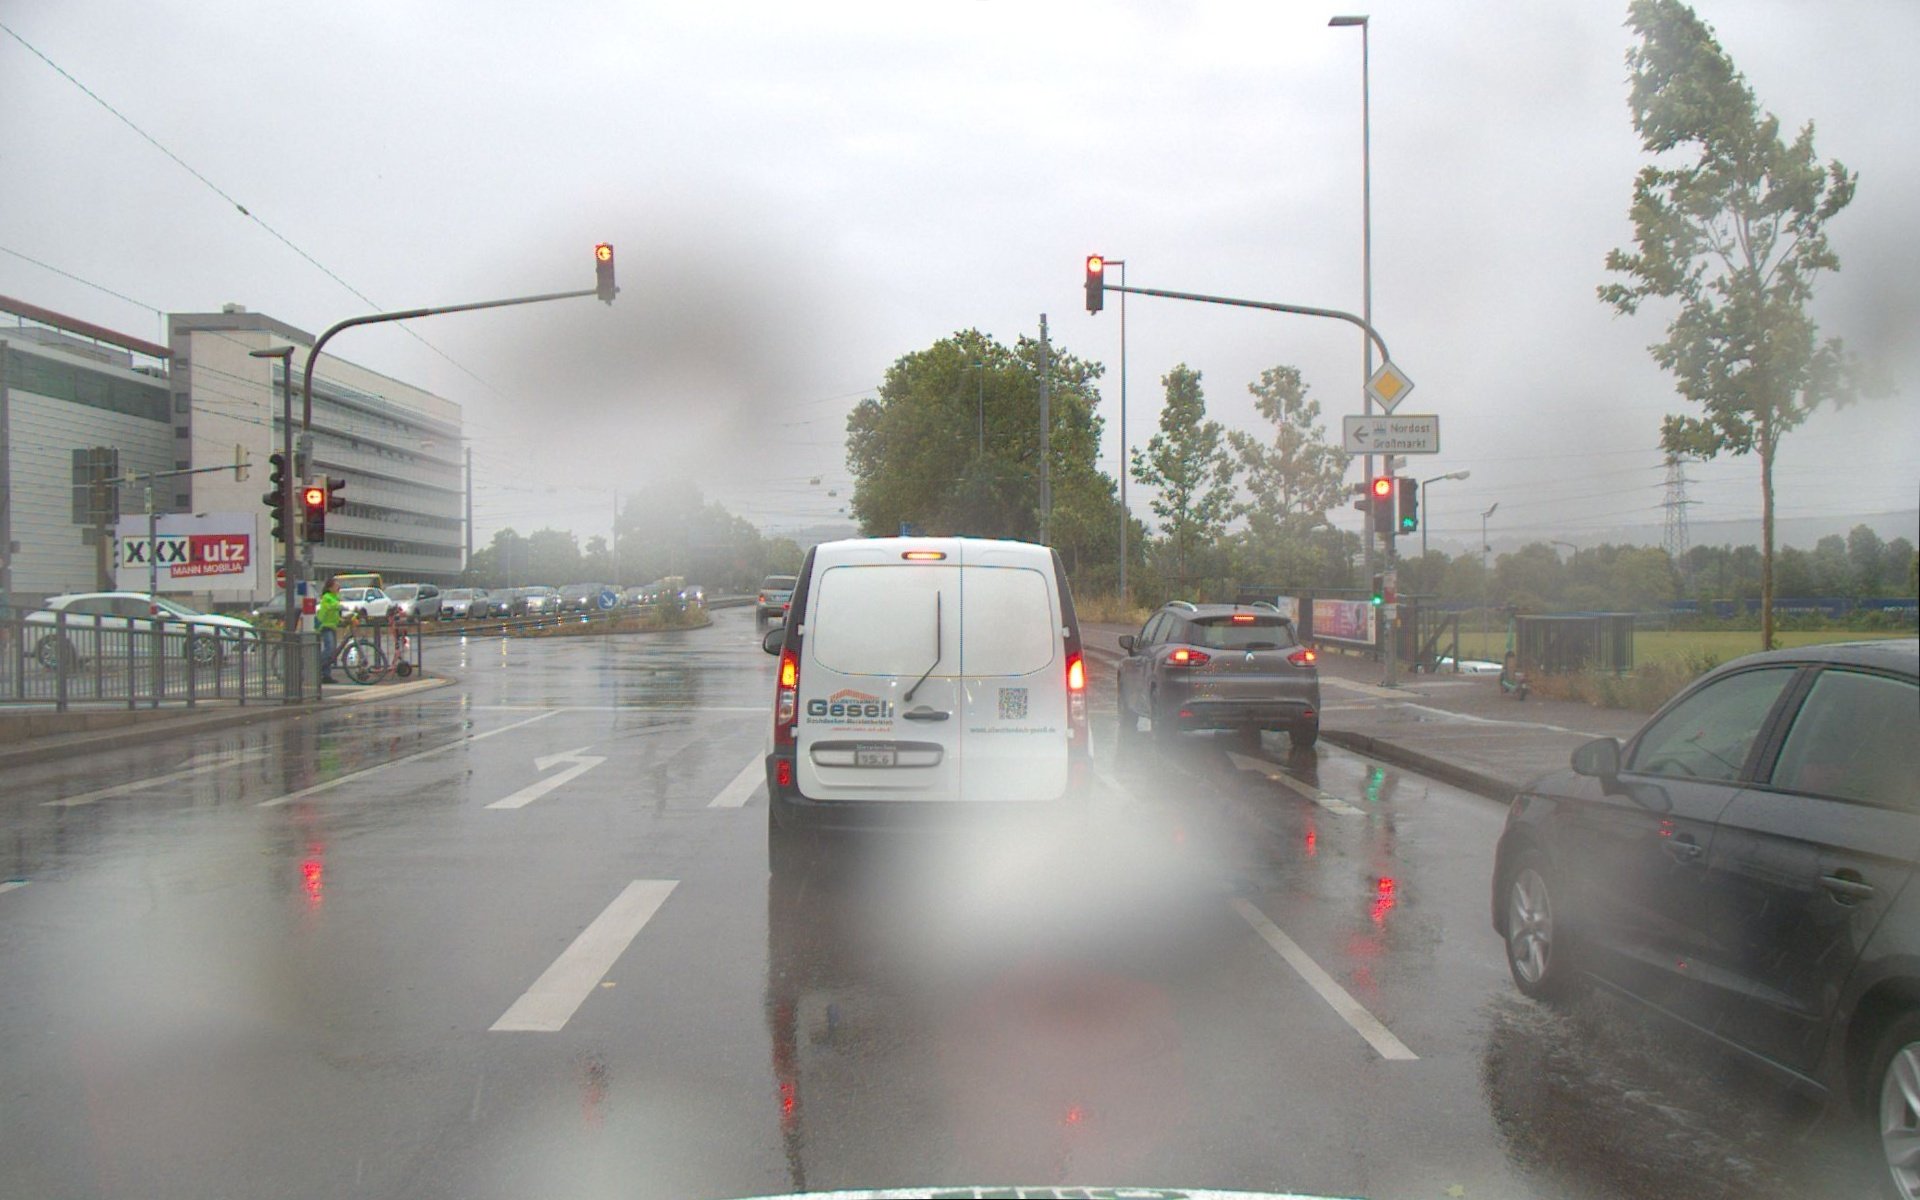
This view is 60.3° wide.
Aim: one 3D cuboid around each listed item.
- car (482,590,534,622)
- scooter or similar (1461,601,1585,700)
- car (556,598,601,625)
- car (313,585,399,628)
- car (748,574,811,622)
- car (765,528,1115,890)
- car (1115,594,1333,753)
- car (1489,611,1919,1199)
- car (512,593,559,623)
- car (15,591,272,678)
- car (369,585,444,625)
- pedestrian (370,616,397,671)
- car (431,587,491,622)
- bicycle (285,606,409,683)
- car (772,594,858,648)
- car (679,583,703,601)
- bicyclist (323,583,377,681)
[{"bbox_3d":[-21.756,0.319,79.659,1.528,1.451,3.567,2,-1,-1],"label":"car"},{"bbox_3d":[7.599,0.639,22.500,0.676,1.232,3.020,-1,0,0],"label":"scooter or similar"},{"bbox_3d":[-21.536,0.676,93.423,1.676,1.451,3.808,2,-1,-1],"label":"car"},{"bbox_3d":[-21.629,0.264,59.402,1.676,1.451,3.808,2,-1,-1],"label":"car"},{"bbox_3d":[-6.862,-0.035,63.325,1.907,1.691,4.463,2,-1,0],"label":"car"},{"bbox_3d":[-0.245,0.516,10.285,1.719,1.780,4.165,1,1,-4],"label":"car"},{"bbox_3d":[2.785,0.733,18.232,1.650,1.534,3.919,1,0,-2],"label":"car"},{"bbox_3d":[3.016,0.759,4.959,1.565,1.390,3.629,1,0,-2],"label":"car"},{"bbox_3d":[-22.066,0.452,86.104,1.528,1.451,3.567,2,-1,-1],"label":"car"},{"bbox_3d":[-16.206,0.686,33.039,4.184,1.528,1.816,2,-1,-12],"label":"car"},{"bbox_3d":[-21.808,0.220,65.306,1.676,1.451,3.808,2,-1,-1],"label":"car"},{"bbox_3d":[-9.735,0.731,27.924,0.309,0.913,0.380,2,0,-3],"label":"pedestrian"},{"bbox_3d":[-21.864,0.224,72.540,1.528,1.451,3.567,2,-1,-1],"label":"car"},{"bbox_3d":[-9.609,0.695,25.970,1.745,1.157,0.512,2,-1,-43],"label":"bicycle"},{"bbox_3d":[-4.243,0.642,48.969,1.675,1.476,4.201,2,-1,7],"label":"car"},{"bbox_3d":[-23.156,-0.682,142.362,1.528,1.451,3.567,2,-1,-1],"label":"car"},{"bbox_3d":[-9.582,0.499,25.970,0.600,1.517,0.591,2,-1,-41],"label":"bicyclist"}]
